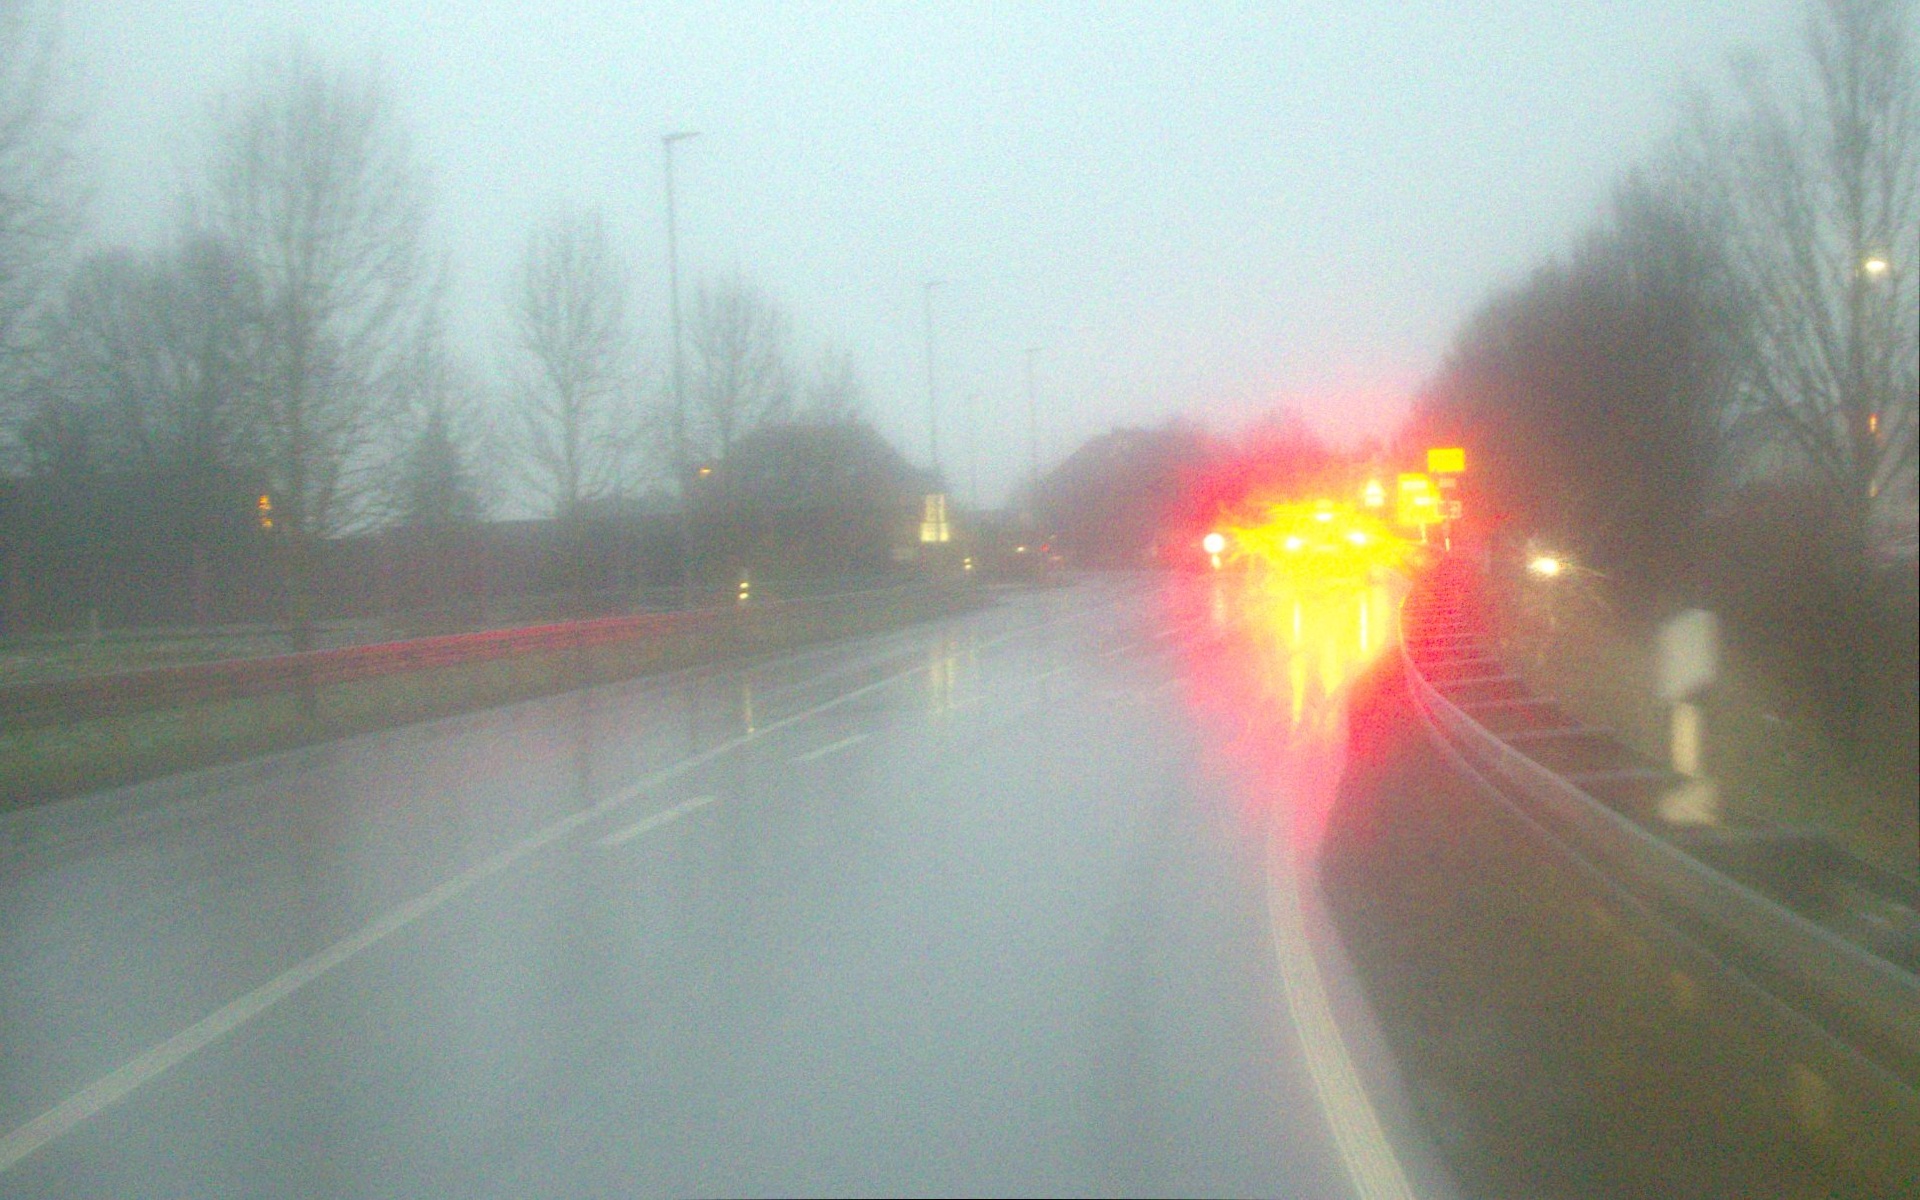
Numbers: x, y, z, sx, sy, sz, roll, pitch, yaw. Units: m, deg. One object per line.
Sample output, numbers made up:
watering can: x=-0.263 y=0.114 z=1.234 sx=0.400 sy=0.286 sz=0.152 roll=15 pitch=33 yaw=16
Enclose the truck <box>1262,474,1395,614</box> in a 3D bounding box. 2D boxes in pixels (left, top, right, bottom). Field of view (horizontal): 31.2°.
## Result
truck: x=8.372 y=-1.260 z=77.665 sx=2.533 sy=2.859 sz=5.920 roll=-4 pitch=0 yaw=9
